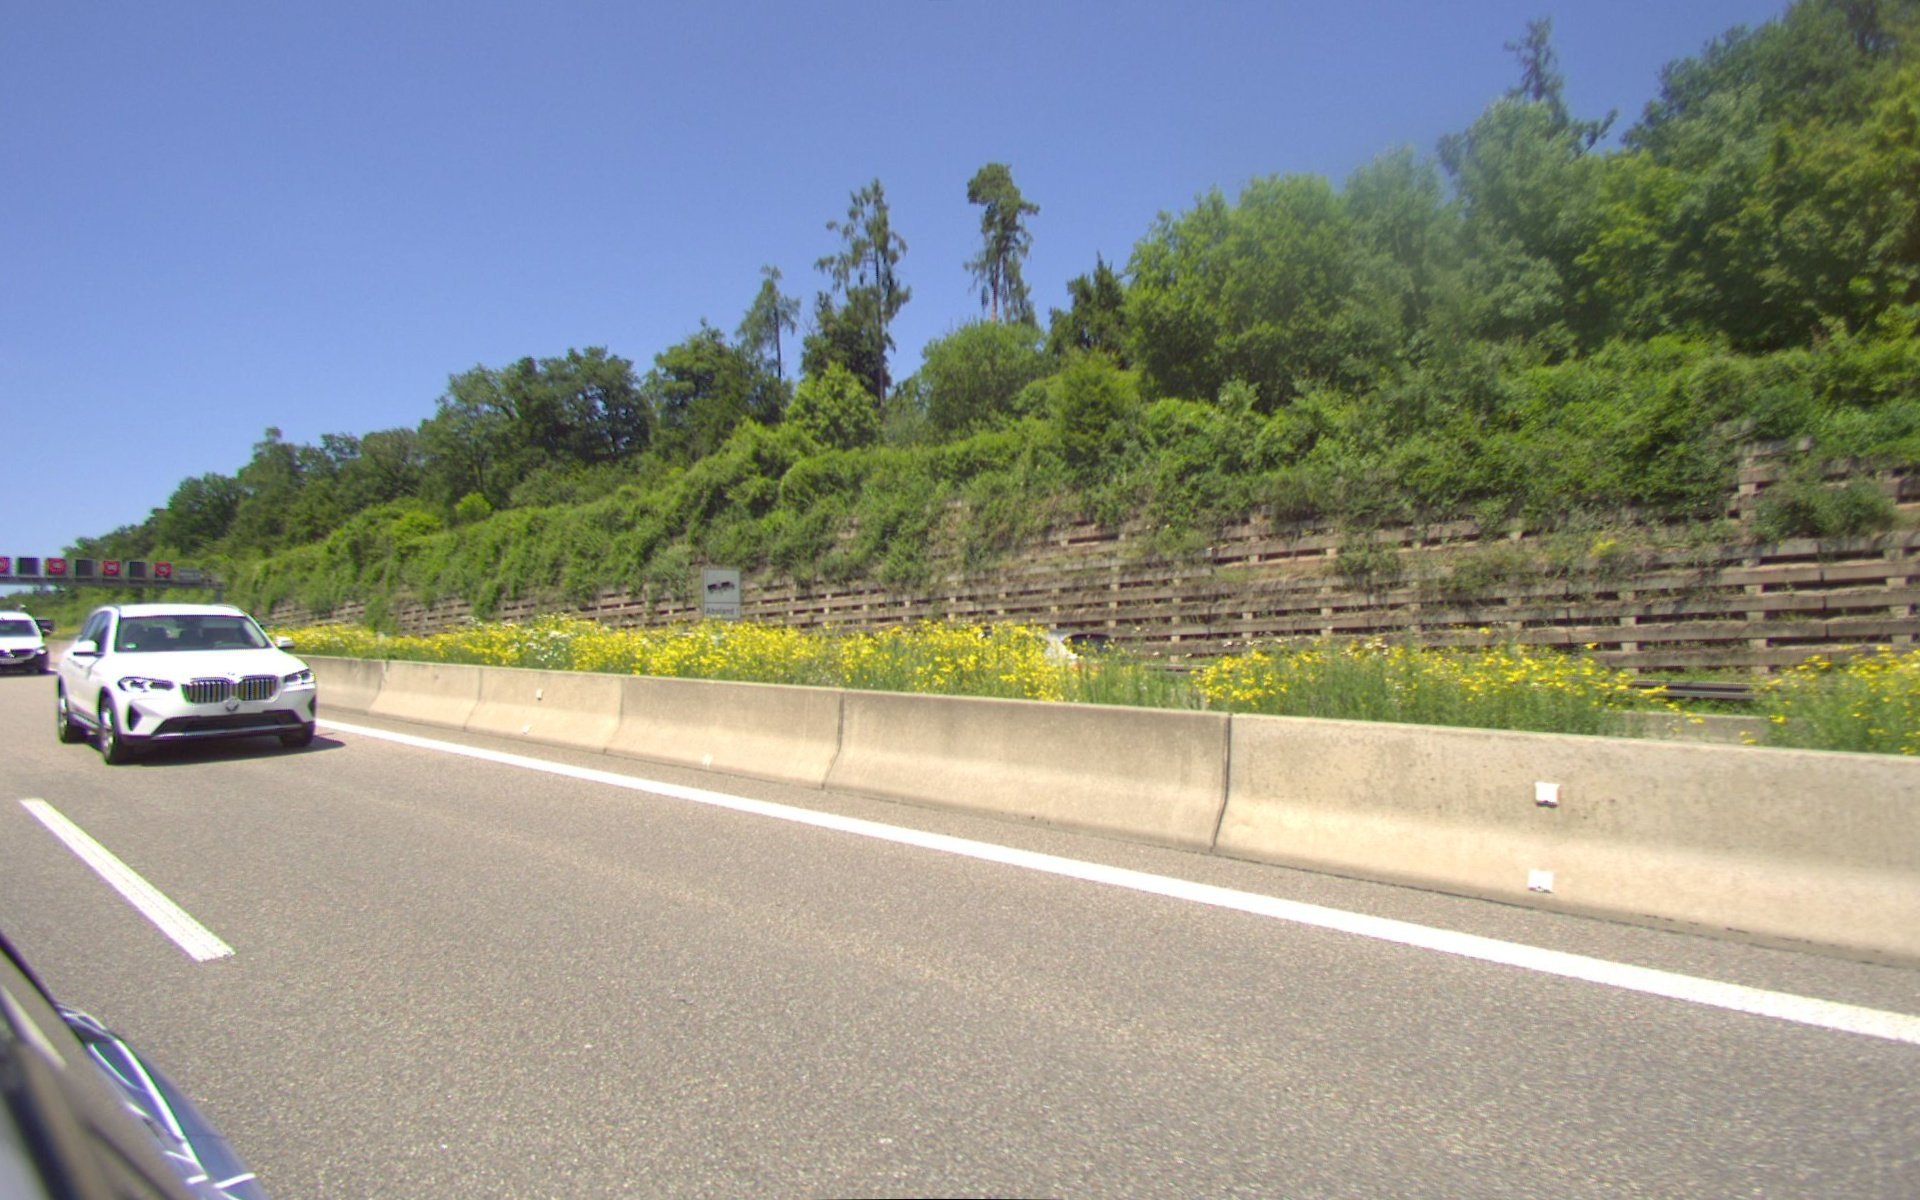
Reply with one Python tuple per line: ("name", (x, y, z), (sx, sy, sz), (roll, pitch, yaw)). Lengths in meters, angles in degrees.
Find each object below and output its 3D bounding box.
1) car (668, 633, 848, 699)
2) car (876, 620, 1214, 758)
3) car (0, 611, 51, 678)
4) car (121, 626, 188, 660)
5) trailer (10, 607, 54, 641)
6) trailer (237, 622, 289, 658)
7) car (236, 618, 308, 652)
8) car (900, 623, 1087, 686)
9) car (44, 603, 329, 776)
("car", (-4.625, 1.420, 22.878), (4.200, 1.354, 1.770), (-2, -2, 40))
("car", (1.000, 1.056, 13.333), (4.200, 1.533, 1.770), (-2, -2, 40))
("car", (-27.466, 1.289, 28.769), (4.500, 1.788, 1.972), (-3, 0, 43))
("car", (-38.894, 2.055, 48.839), (4.200, 1.533, 1.770), (-2, -2, 40))
("trailer", (-119.456, 3.128, 130.177), (14.180, 4.046, 2.652), (-3, -2, 41))
("trailer", (-42.884, 2.435, 62.216), (3.494, 2.133, 1.875), (-2, -3, 42))
("car", (-33.035, 1.680, 48.553), (4.202, 1.533, 1.916), (-2, -2, 42))
("car", (0.725, 1.228, 23.680), (4.200, 1.354, 1.770), (-2, -2, 40))
("car", (-9.229, 0.906, 11.936), (4.366, 1.656, 1.826), (-1, 0, 41))
